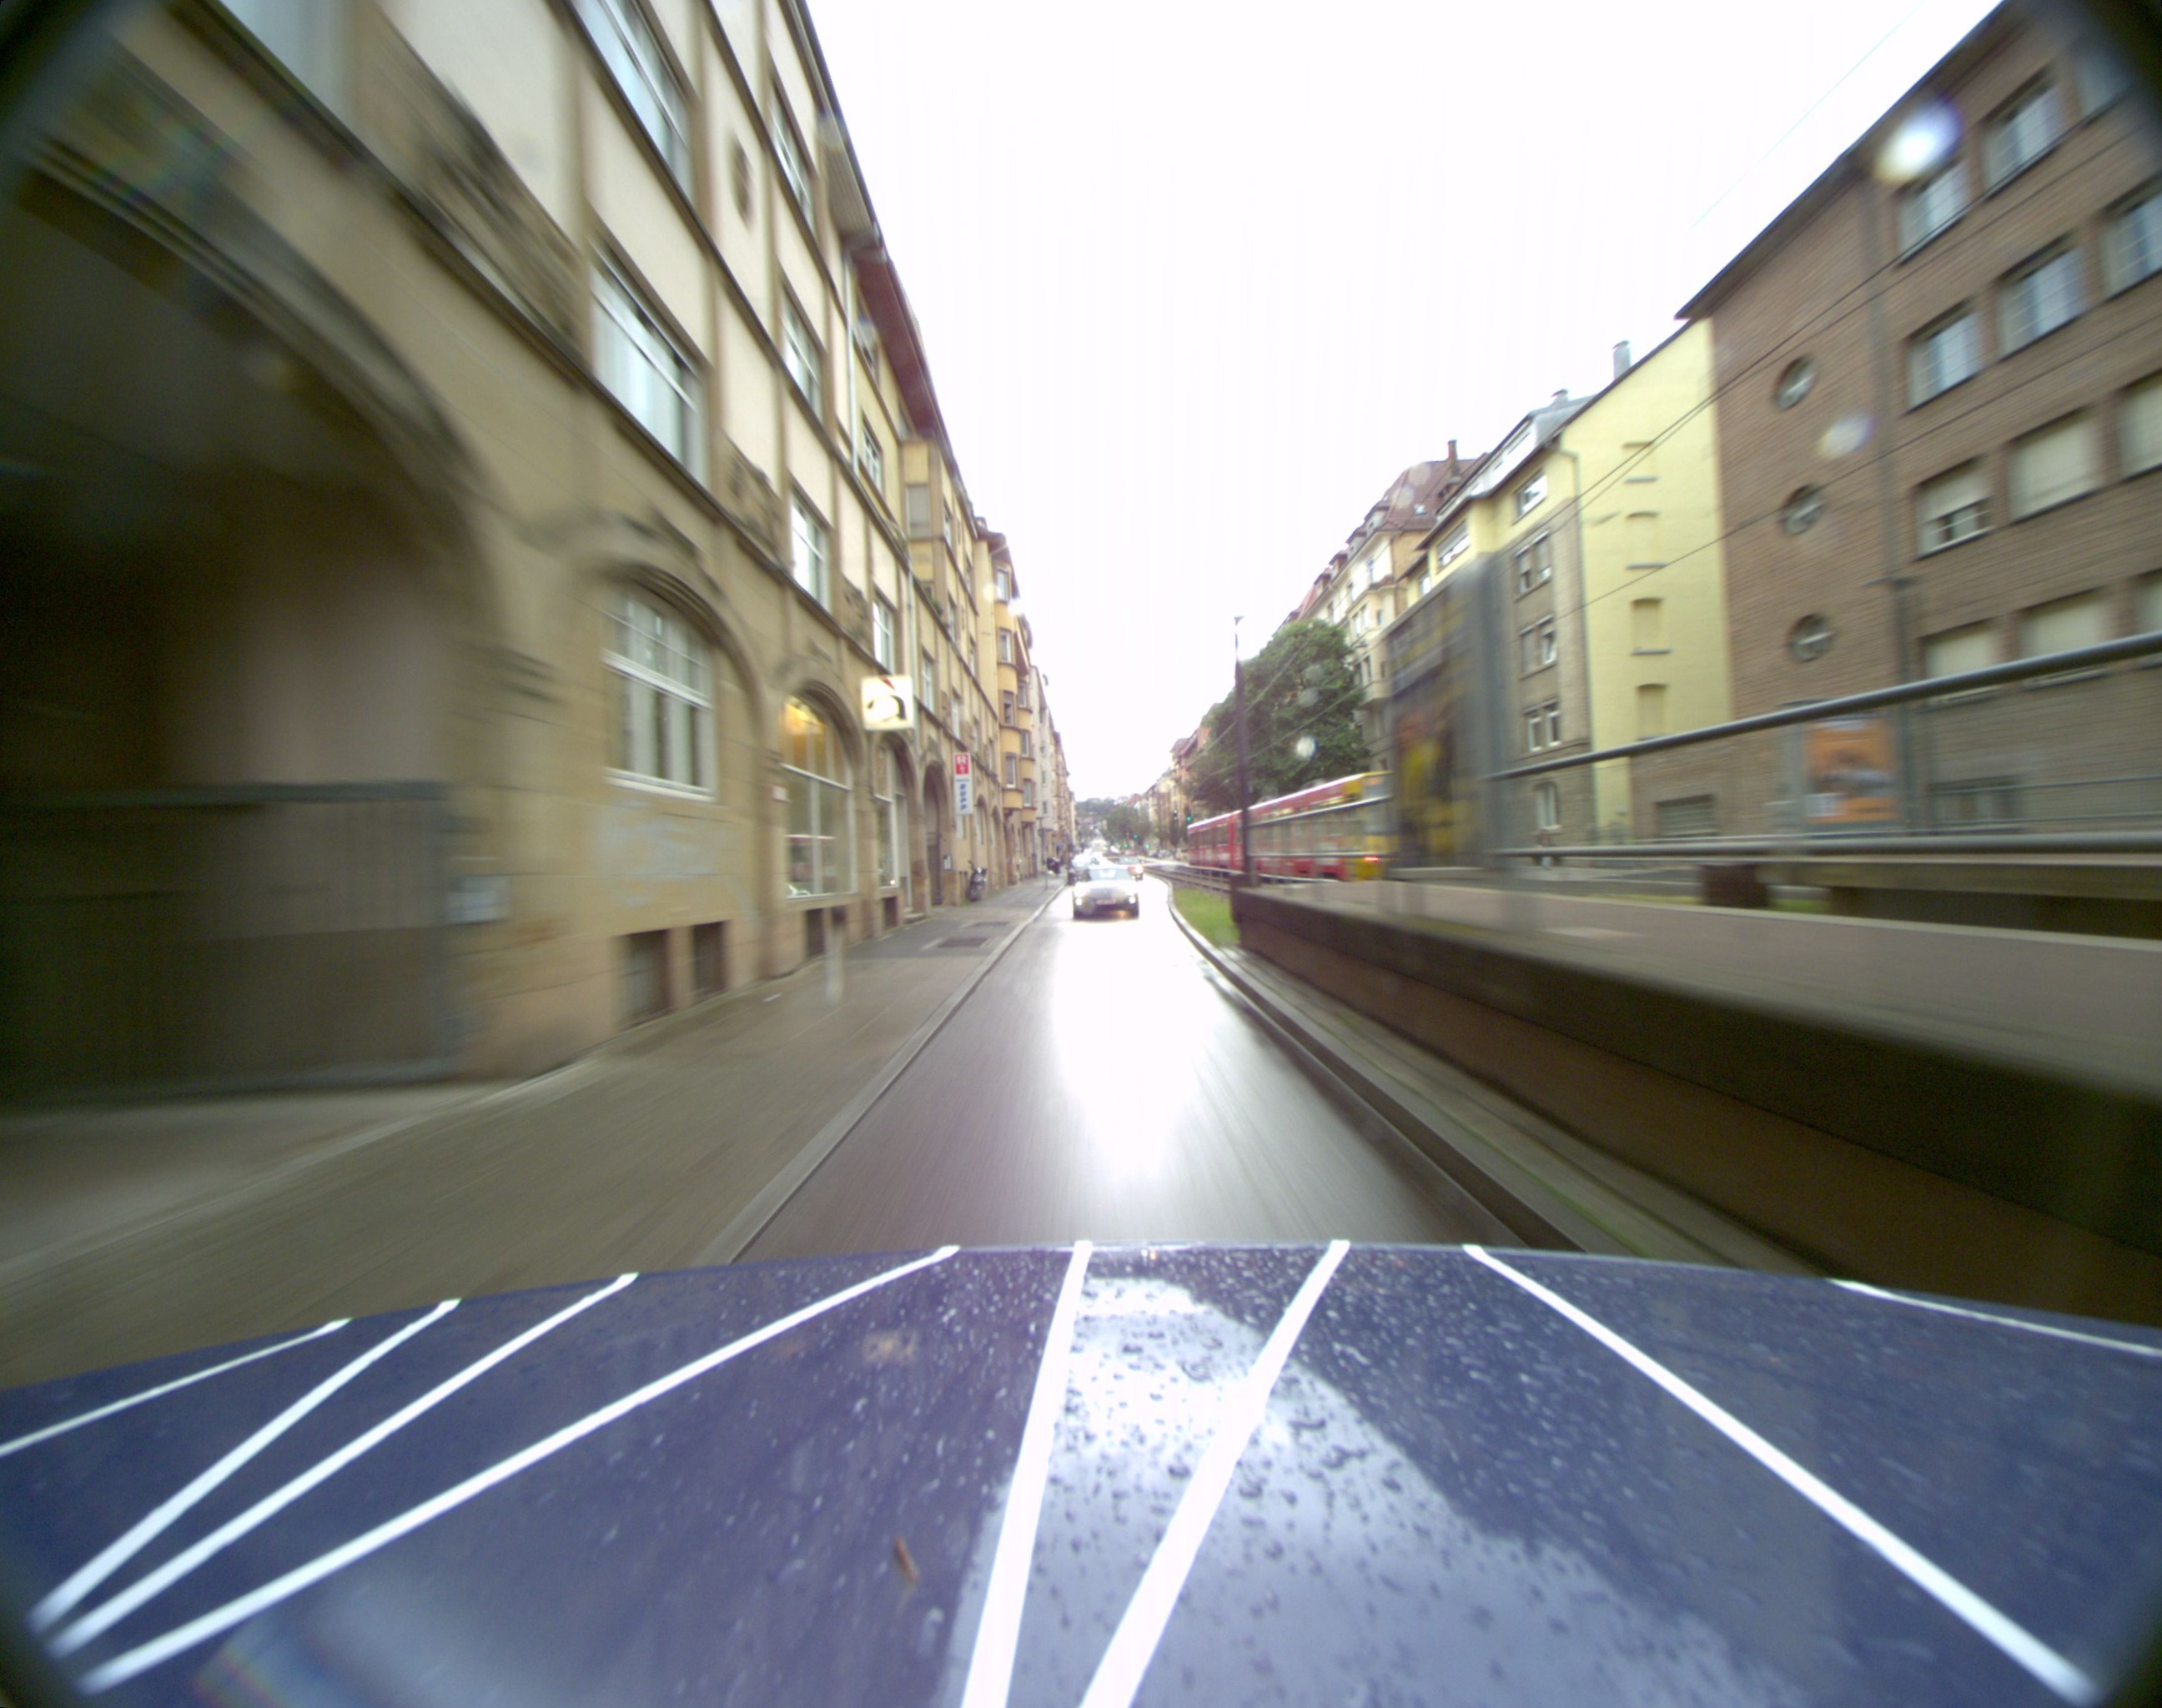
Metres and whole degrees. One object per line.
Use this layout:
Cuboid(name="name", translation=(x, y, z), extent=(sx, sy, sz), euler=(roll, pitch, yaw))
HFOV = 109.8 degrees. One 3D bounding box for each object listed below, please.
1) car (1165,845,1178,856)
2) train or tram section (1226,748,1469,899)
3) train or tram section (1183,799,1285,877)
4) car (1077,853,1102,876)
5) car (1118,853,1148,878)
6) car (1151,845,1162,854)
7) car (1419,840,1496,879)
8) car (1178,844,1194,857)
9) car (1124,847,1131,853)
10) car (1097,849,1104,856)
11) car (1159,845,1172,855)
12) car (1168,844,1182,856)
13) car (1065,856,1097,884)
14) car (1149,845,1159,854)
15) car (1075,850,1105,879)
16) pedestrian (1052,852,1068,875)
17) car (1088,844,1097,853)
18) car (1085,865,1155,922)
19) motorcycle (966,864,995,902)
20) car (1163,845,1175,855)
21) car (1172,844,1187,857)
Cuboid(name="car", translation=(16.970, -0.717, 142.175), extent=(1.998, 1.958, 4.000), euler=(-3, 0, 1))
Cuboid(name="train or tram section", translation=(9.025, -0.895, 30.223), extent=(2.721, 3.898, 19.860), euler=(-3, 0, 1))
Cuboid(name="train or tram section", translation=(9.214, -0.922, 48.958), extent=(2.721, 3.898, 19.296), euler=(-3, 0, 1))
Cuboid(name="car", translation=(0.647, 0.735, 55.568), extent=(1.648, 1.536, 4.028), euler=(-2, 0, 3))
Cuboid(name="car", translation=(3.186, 0.679, 47.102), extent=(1.689, 1.451, 3.299), euler=(-1, 0, 1))
Cuboid(name="car", translation=(16.874, -0.927, 169.700), extent=(1.998, 1.958, 4.000), euler=(-3, 0, 1))
Cuboid(name="car", translation=(15.415, 0.192, 31.265), extent=(1.648, 1.458, 3.111), euler=(-2, 0, 3))
Cuboid(name="car", translation=(16.806, -0.551, 121.977), extent=(1.998, 1.958, 4.000), euler=(-3, 0, 1))
Cuboid(name="car", translation=(16.234, -1.347, 264.187), extent=(1.998, 1.958, 4.000), euler=(-3, 0, 1))
Cuboid(name="car", translation=(5.800, -0.555, 224.987), extent=(1.998, 1.958, 4.000), euler=(-3, 0, 1))
Cuboid(name="car", translation=(16.937, -0.795, 152.463), extent=(1.998, 1.958, 4.000), euler=(-3, 0, 1))
Cuboid(name="car", translation=(16.876, -0.668, 136.527), extent=(1.998, 1.958, 4.000), euler=(-3, 0, 1))
Cuboid(name="car", translation=(0.060, 0.873, 43.896), extent=(1.633, 1.443, 4.000), euler=(-2, 0, 3))
Cuboid(name="car", translation=(17.006, -0.976, 177.079), extent=(1.998, 1.958, 4.000), euler=(-3, 0, 1))
Cuboid(name="car", translation=(0.626, 0.645, 49.290), extent=(1.741, 1.788, 4.266), euler=(-2, 0, 3))
Cuboid(name="pedestrian", translation=(-1.632, 0.728, 58.203), extent=(1.125, 1.703, 1.101), euler=(-3, 1, -3))
Cuboid(name="car", translation=(2.609, -1.210, 171.126), extent=(1.998, 1.761, 4.000), euler=(-3, 1, 3))
Cuboid(name="car", translation=(1.065, 1.006, 20.990), extent=(1.704, 1.280, 4.196), euler=(-2, 0, 3))
Cuboid(name="motorcycle", translation=(-3.453, 0.984, 26.278), extent=(0.692, 1.230, 1.779), euler=(3, 0, 1))
Cuboid(name="car", translation=(16.983, -0.753, 146.691), extent=(1.998, 1.958, 4.000), euler=(-3, 0, 1))
Cuboid(name="car", translation=(16.763, -0.608, 129.463), extent=(1.998, 1.958, 4.000), euler=(-3, 0, 1))
